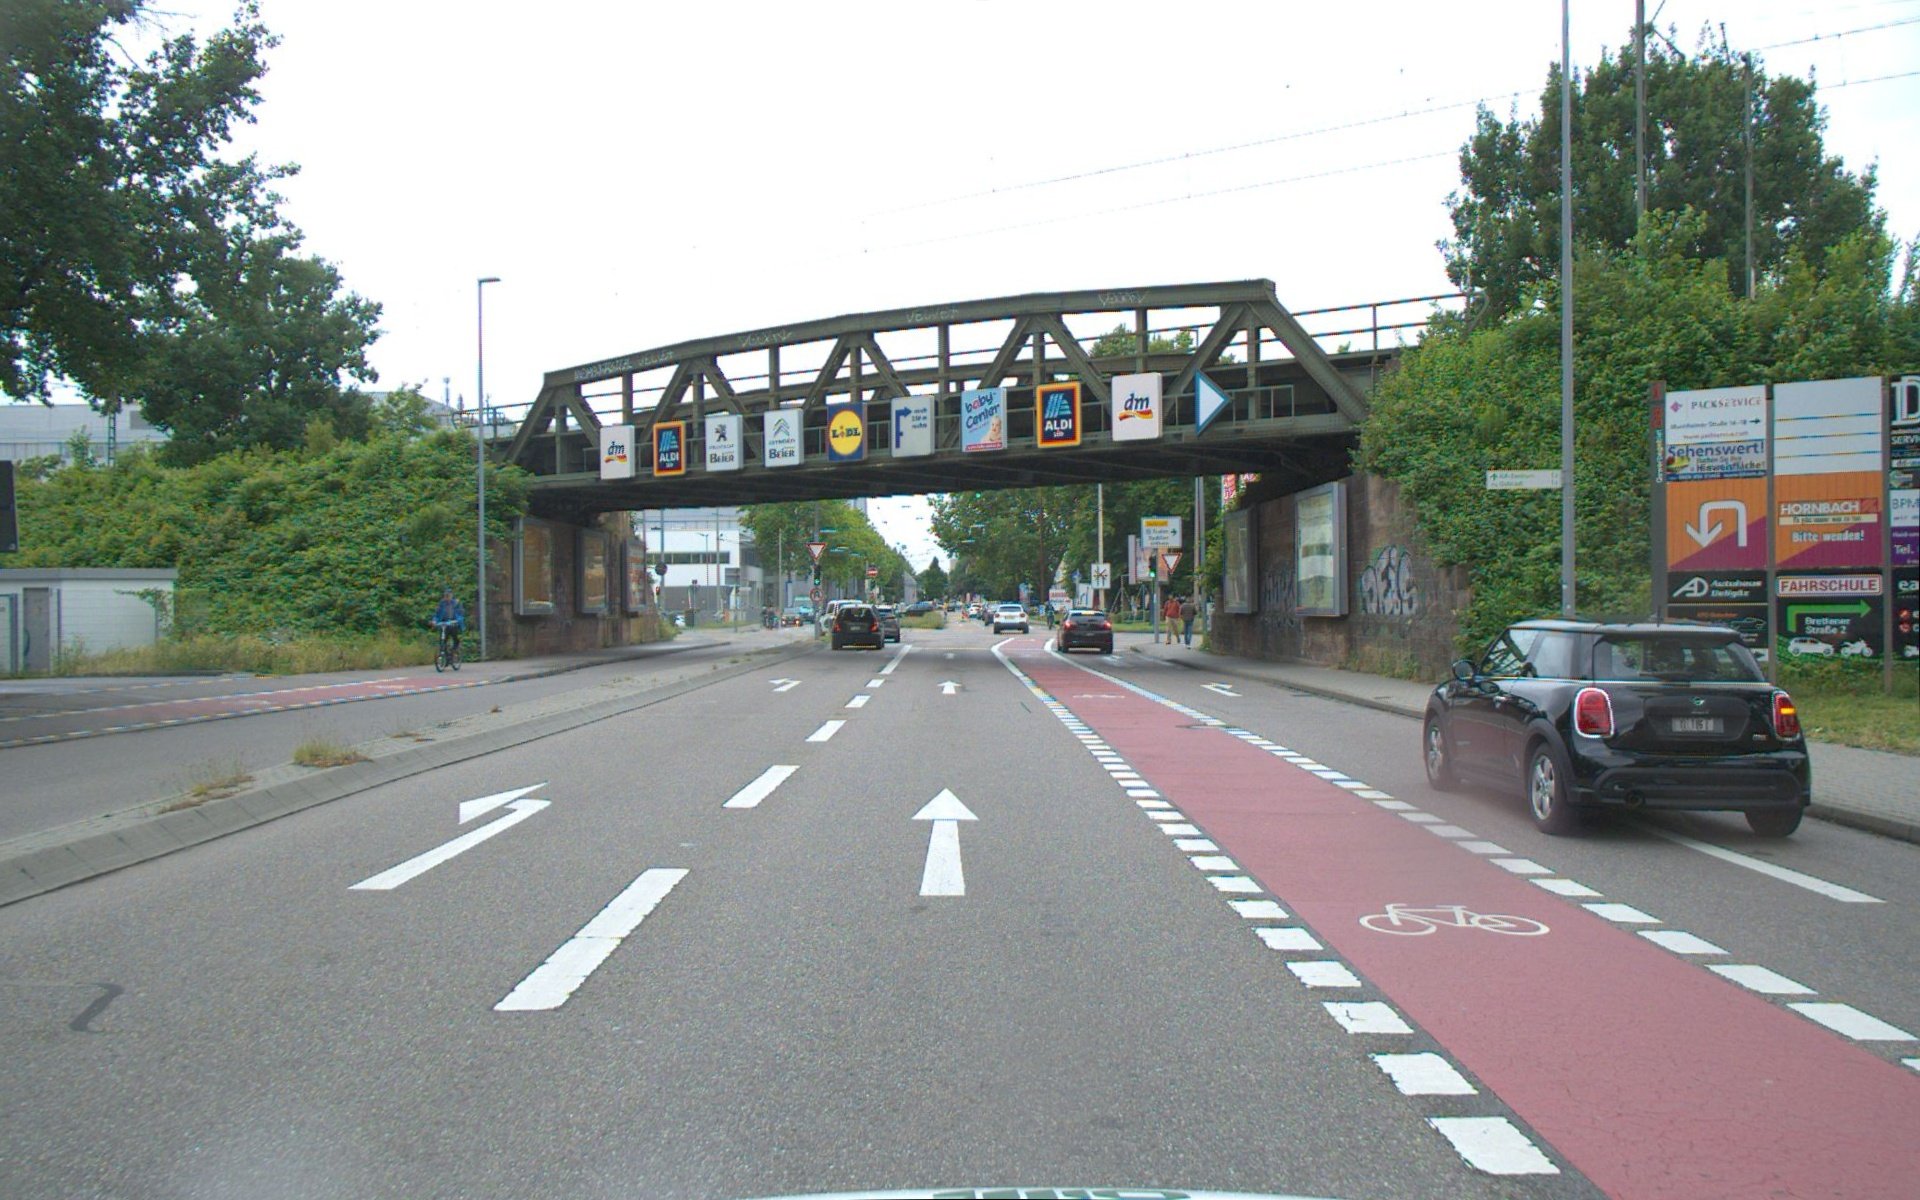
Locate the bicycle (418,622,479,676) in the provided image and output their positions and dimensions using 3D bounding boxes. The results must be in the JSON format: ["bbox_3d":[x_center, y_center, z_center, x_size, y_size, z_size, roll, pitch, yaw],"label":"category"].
[{"bbox_3d":[-11.974,1.133,38.785,0.698,1.207,2.370,1,-1,0],"label":"bicycle"}]

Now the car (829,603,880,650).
[{"bbox_3d":[-3.699,0.917,57.949,1.733,1.554,3.666,1,0,-4],"label":"car"}]

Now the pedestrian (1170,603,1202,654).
[{"bbox_3d":[7.552,0.952,55.285,0.769,1.669,0.735,0,0,-33],"label":"pedestrian"}]

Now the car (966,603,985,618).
[{"bbox_3d":[1.650,1.143,177.698,1.760,1.540,3.703,1,0,-4],"label":"car"}]

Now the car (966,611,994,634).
[{"bbox_3d":[1.385,1.548,114.157,1.651,1.540,3.703,1,0,-4],"label":"car"}]

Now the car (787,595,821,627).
[{"bbox_3d":[-14.297,1.005,151.684,2.280,2.875,5.950,-1,-1,2],"label":"car"}]

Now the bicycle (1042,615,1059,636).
[{"bbox_3d":[5.492,1.523,100.534,0.800,1.234,2.682,-1,0,-1],"label":"bicycle"}]

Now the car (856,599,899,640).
[{"bbox_3d":[-3.542,0.791,70.421,1.738,1.681,3.666,1,0,-4],"label":"car"}]

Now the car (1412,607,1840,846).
[{"bbox_3d":[4.672,0.798,12.212,1.645,1.456,3.774,1,0,0],"label":"car"}]

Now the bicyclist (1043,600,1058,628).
[{"bbox_3d":[5.477,0.830,100.539,0.800,1.659,1.235,-1,-1,-1],"label":"bicyclist"}]

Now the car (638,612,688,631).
[{"bbox_3d":[-28.503,2.043,158.747,4.437,1.662,1.911,-1,0,-4],"label":"car"}]

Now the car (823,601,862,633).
[{"bbox_3d":[-6.011,0.850,84.443,1.923,1.554,5.006,1,0,-4],"label":"car"}]

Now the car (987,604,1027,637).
[{"bbox_3d":[2.452,1.068,87.416,1.787,1.628,3.773,1,0,-4],"label":"car"}]

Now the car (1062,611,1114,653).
[{"bbox_3d":[4.258,1.047,55.489,1.613,1.303,3.420,1,0,2],"label":"car"}]

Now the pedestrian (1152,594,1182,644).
[{"bbox_3d":[7.371,0.673,58.919,0.854,1.790,0.787,-1,0,22],"label":"pedestrian"}]

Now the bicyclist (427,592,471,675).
[{"bbox_3d":[-11.971,0.786,38.788,0.687,1.907,1.020,1,-1,-1],"label":"bicyclist"}]
